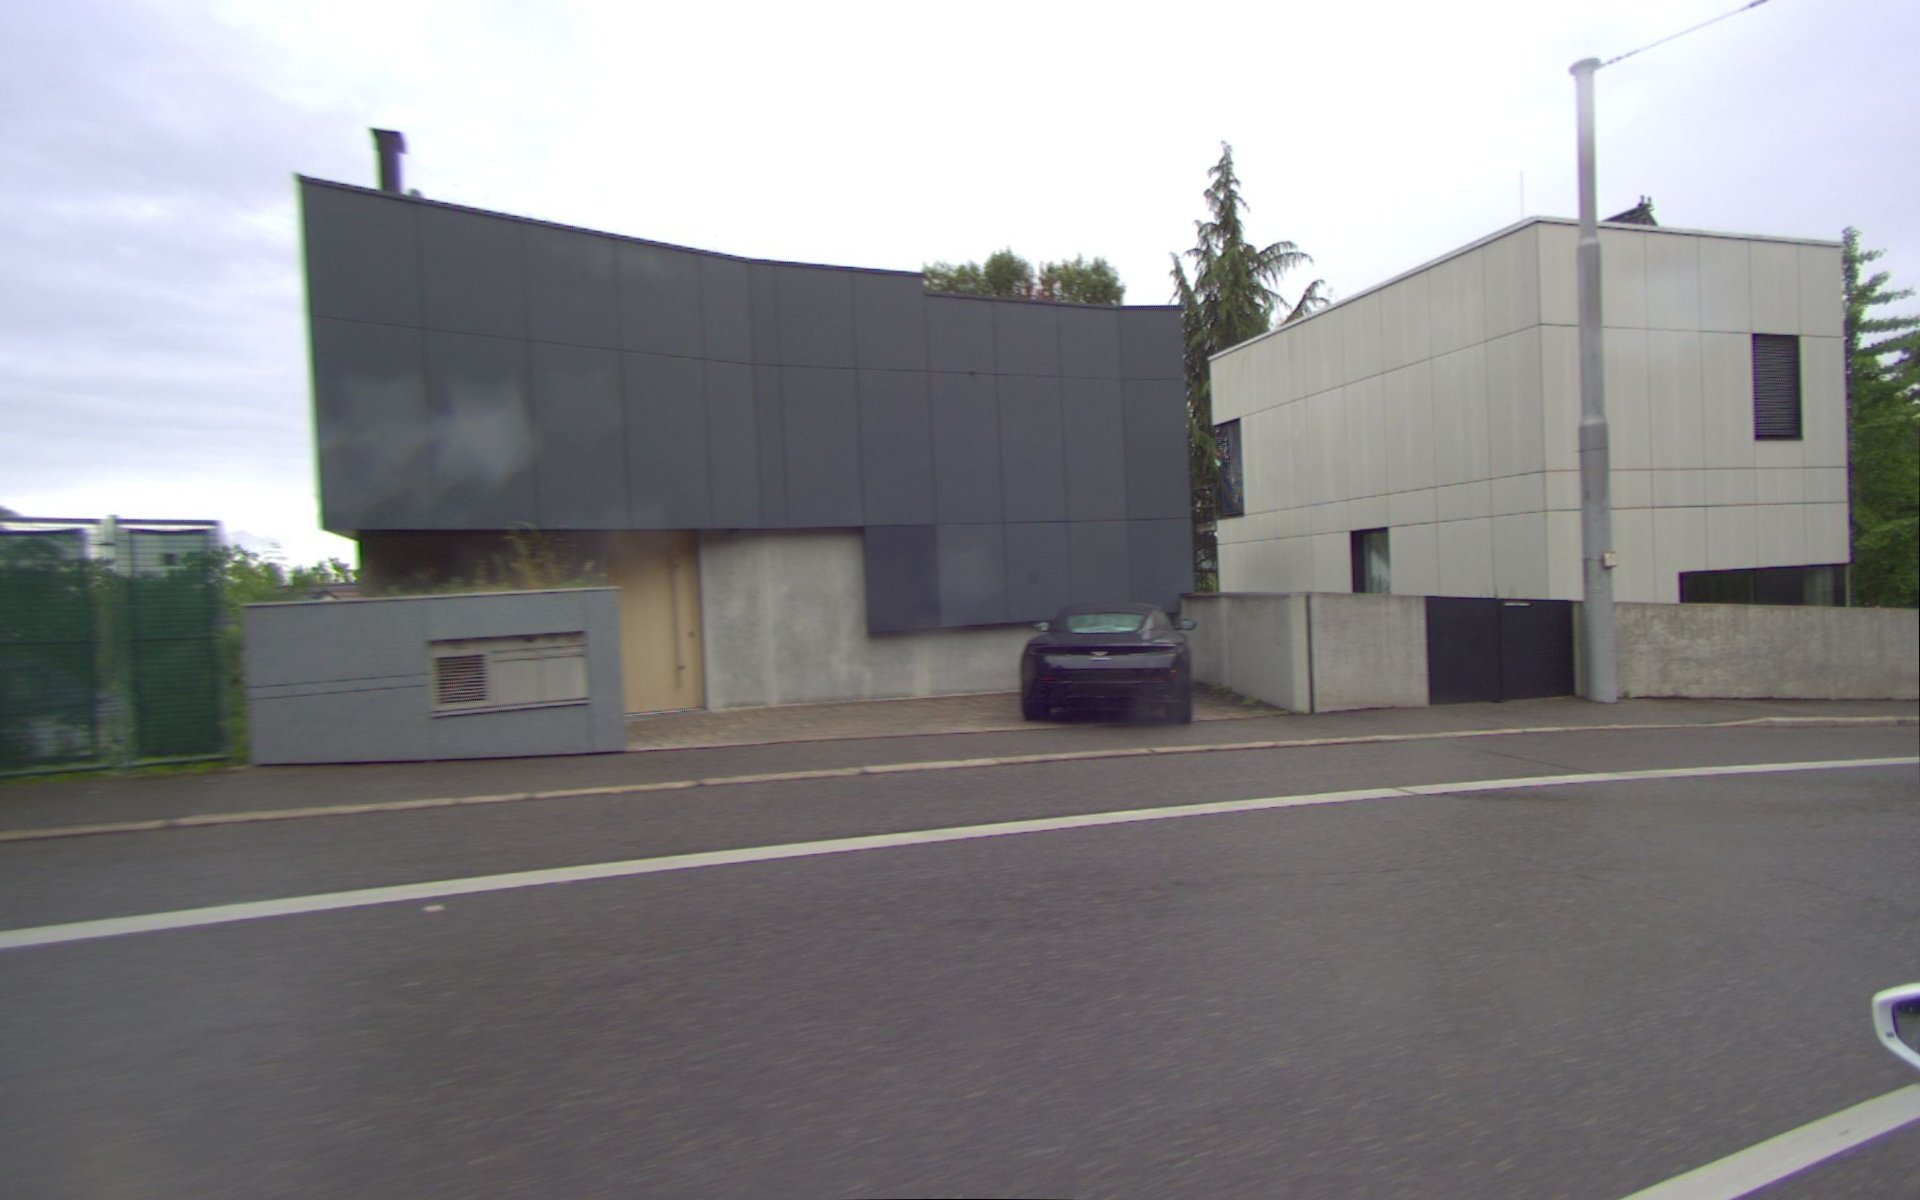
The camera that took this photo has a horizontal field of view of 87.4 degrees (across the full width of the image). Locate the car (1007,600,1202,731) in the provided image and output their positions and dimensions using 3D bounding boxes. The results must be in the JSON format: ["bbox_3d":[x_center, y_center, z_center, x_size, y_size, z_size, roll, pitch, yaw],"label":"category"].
[{"bbox_3d":[1.937,0.694,12.331,1.859,1.318,4.002,0,-1,16],"label":"car"}]
